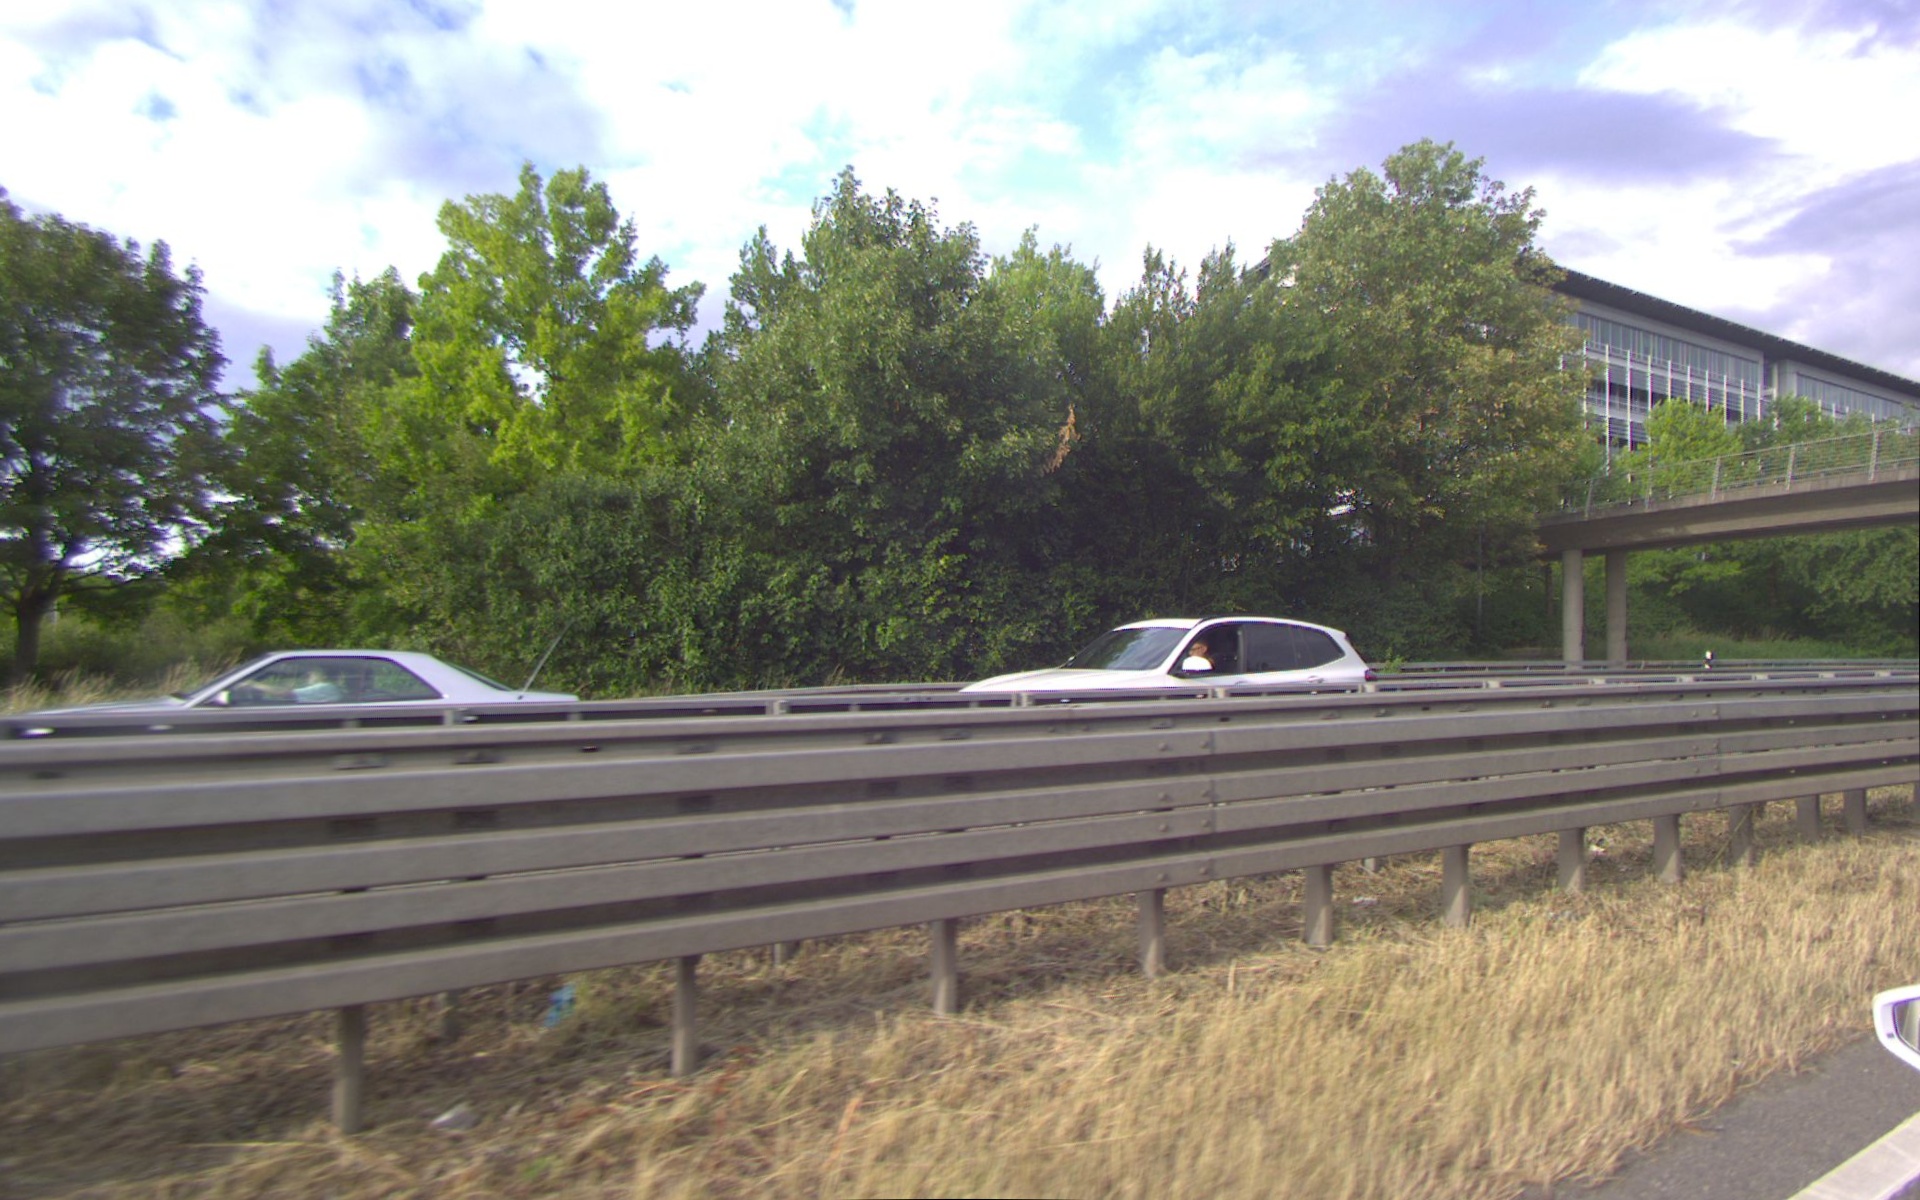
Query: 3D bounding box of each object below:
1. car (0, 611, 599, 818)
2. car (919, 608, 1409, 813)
[{"bbox_3d":[-5.815,0.931,9.397,4.344,1.556,1.827,2,-2,-29],"label":"car"},{"bbox_3d":[2.107,0.932,9.891,4.734,1.605,1.814,1,-1,-30],"label":"car"}]
